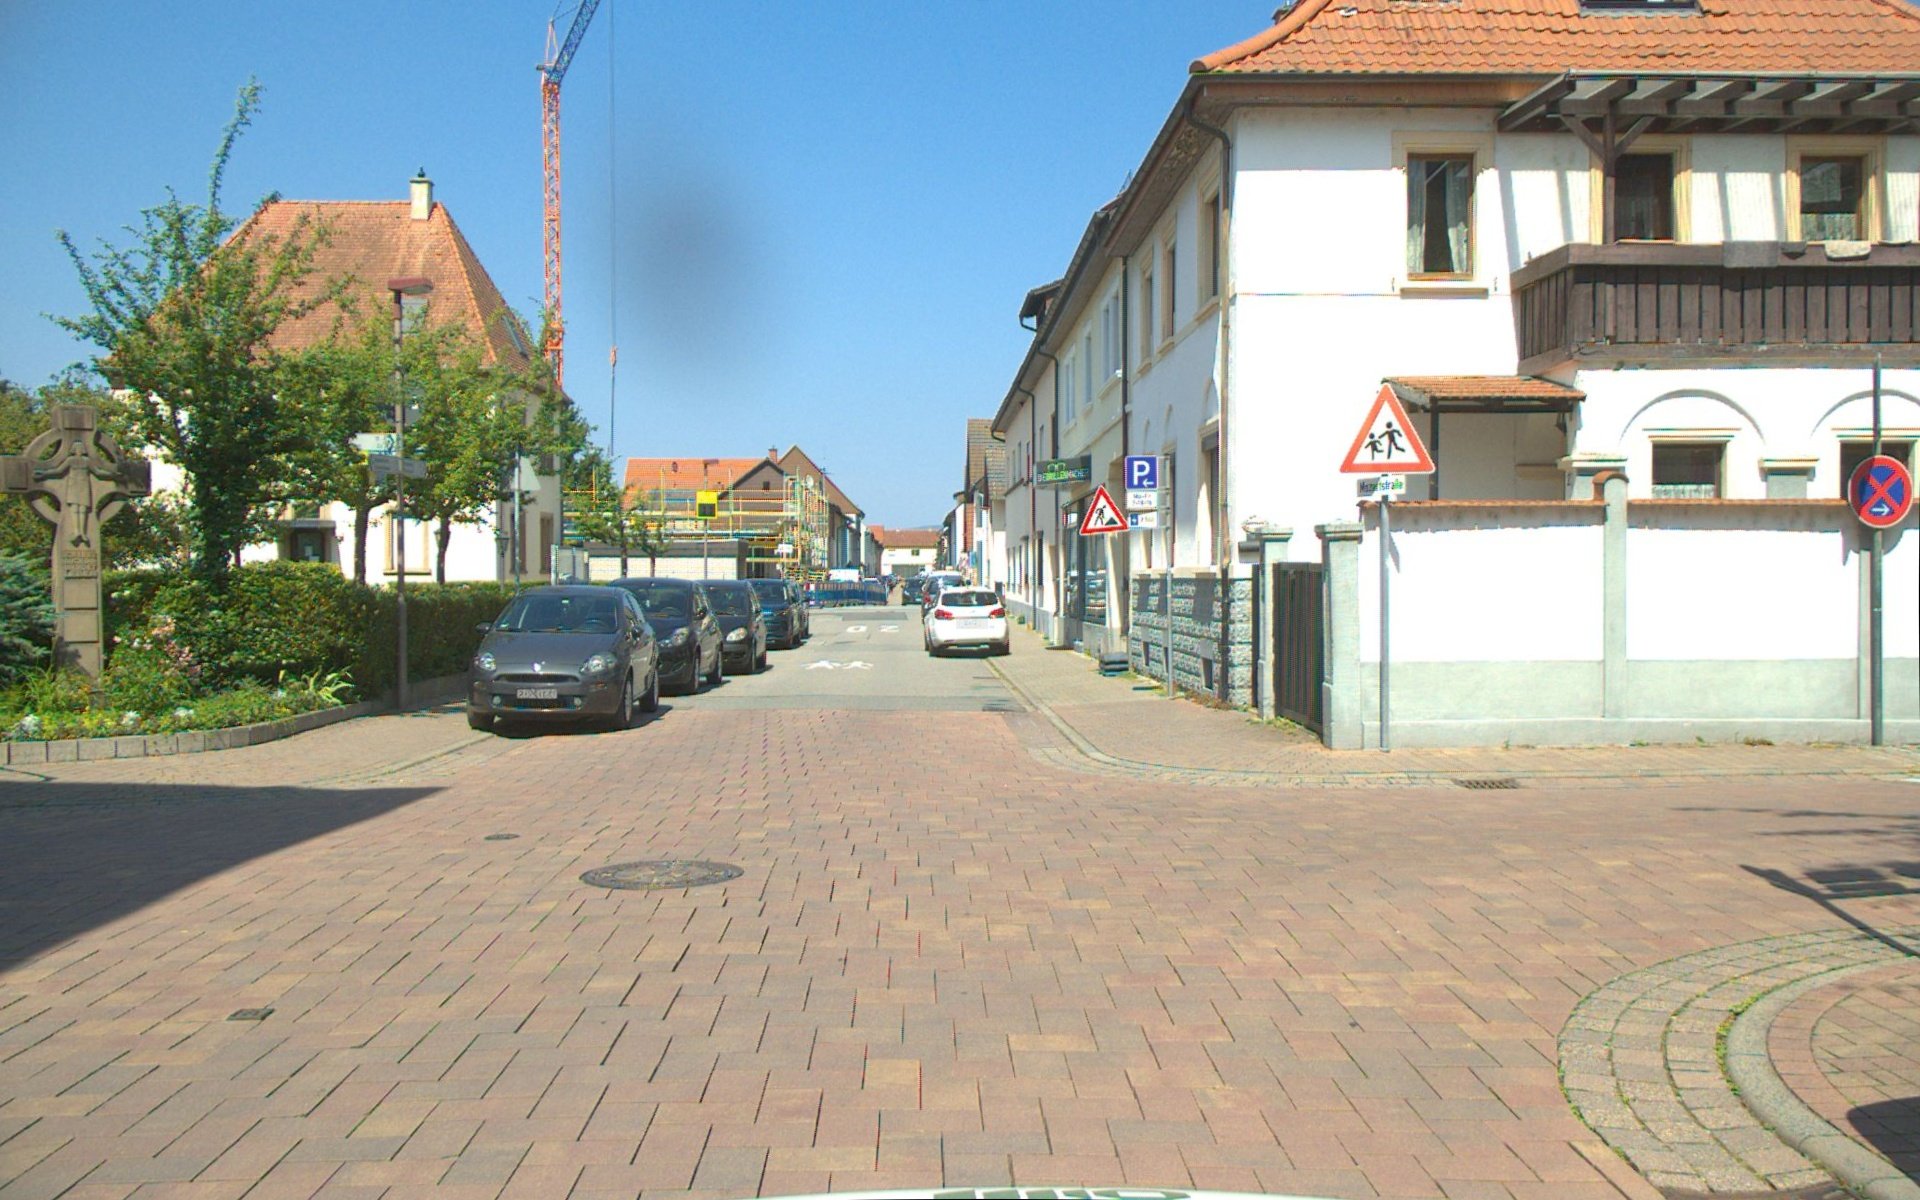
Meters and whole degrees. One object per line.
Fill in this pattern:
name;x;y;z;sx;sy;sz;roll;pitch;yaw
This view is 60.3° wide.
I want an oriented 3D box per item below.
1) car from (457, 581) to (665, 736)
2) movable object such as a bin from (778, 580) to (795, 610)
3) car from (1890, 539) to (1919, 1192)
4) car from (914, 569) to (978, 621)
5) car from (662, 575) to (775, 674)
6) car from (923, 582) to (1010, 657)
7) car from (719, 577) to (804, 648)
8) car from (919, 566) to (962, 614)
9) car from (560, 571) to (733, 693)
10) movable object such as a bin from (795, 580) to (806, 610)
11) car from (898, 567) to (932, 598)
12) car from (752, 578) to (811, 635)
car;-4.338;0.555;18.485;1.669;1.523;3.853;0;1;-5
movable object such as a bin;-6.866;-0.209;65.415;0.610;1.175;0.676;-1;1;-9
car;4.517;0.583;3.261;4.350;1.603;1.788;-2;1;-1
car;-0.513;-0.206;57.016;1.848;1.583;3.891;-4;1;-4
car;-4.323;0.384;30.044;1.605;1.657;3.767;0;1;-2
car;0.196;0.395;37.259;1.847;1.569;4.244;0;1;2
car;-4.843;0.261;40.812;1.790;1.659;4.214;0;1;-3
car;-0.749;-0.391;62.284;1.532;1.641;3.542;0;3;-2
car;-4.510;0.398;24.363;1.778;1.633;4.024;0;1;0
movable object such as a bin;-6.362;-0.203;65.926;0.423;1.176;0.363;-1;1;-11
car;-2.579;-1.010;93.371;1.844;1.697;4.152;0;1;-2
car;-4.949;0.146;46.247;1.407;1.500;3.784;0;1;-3
